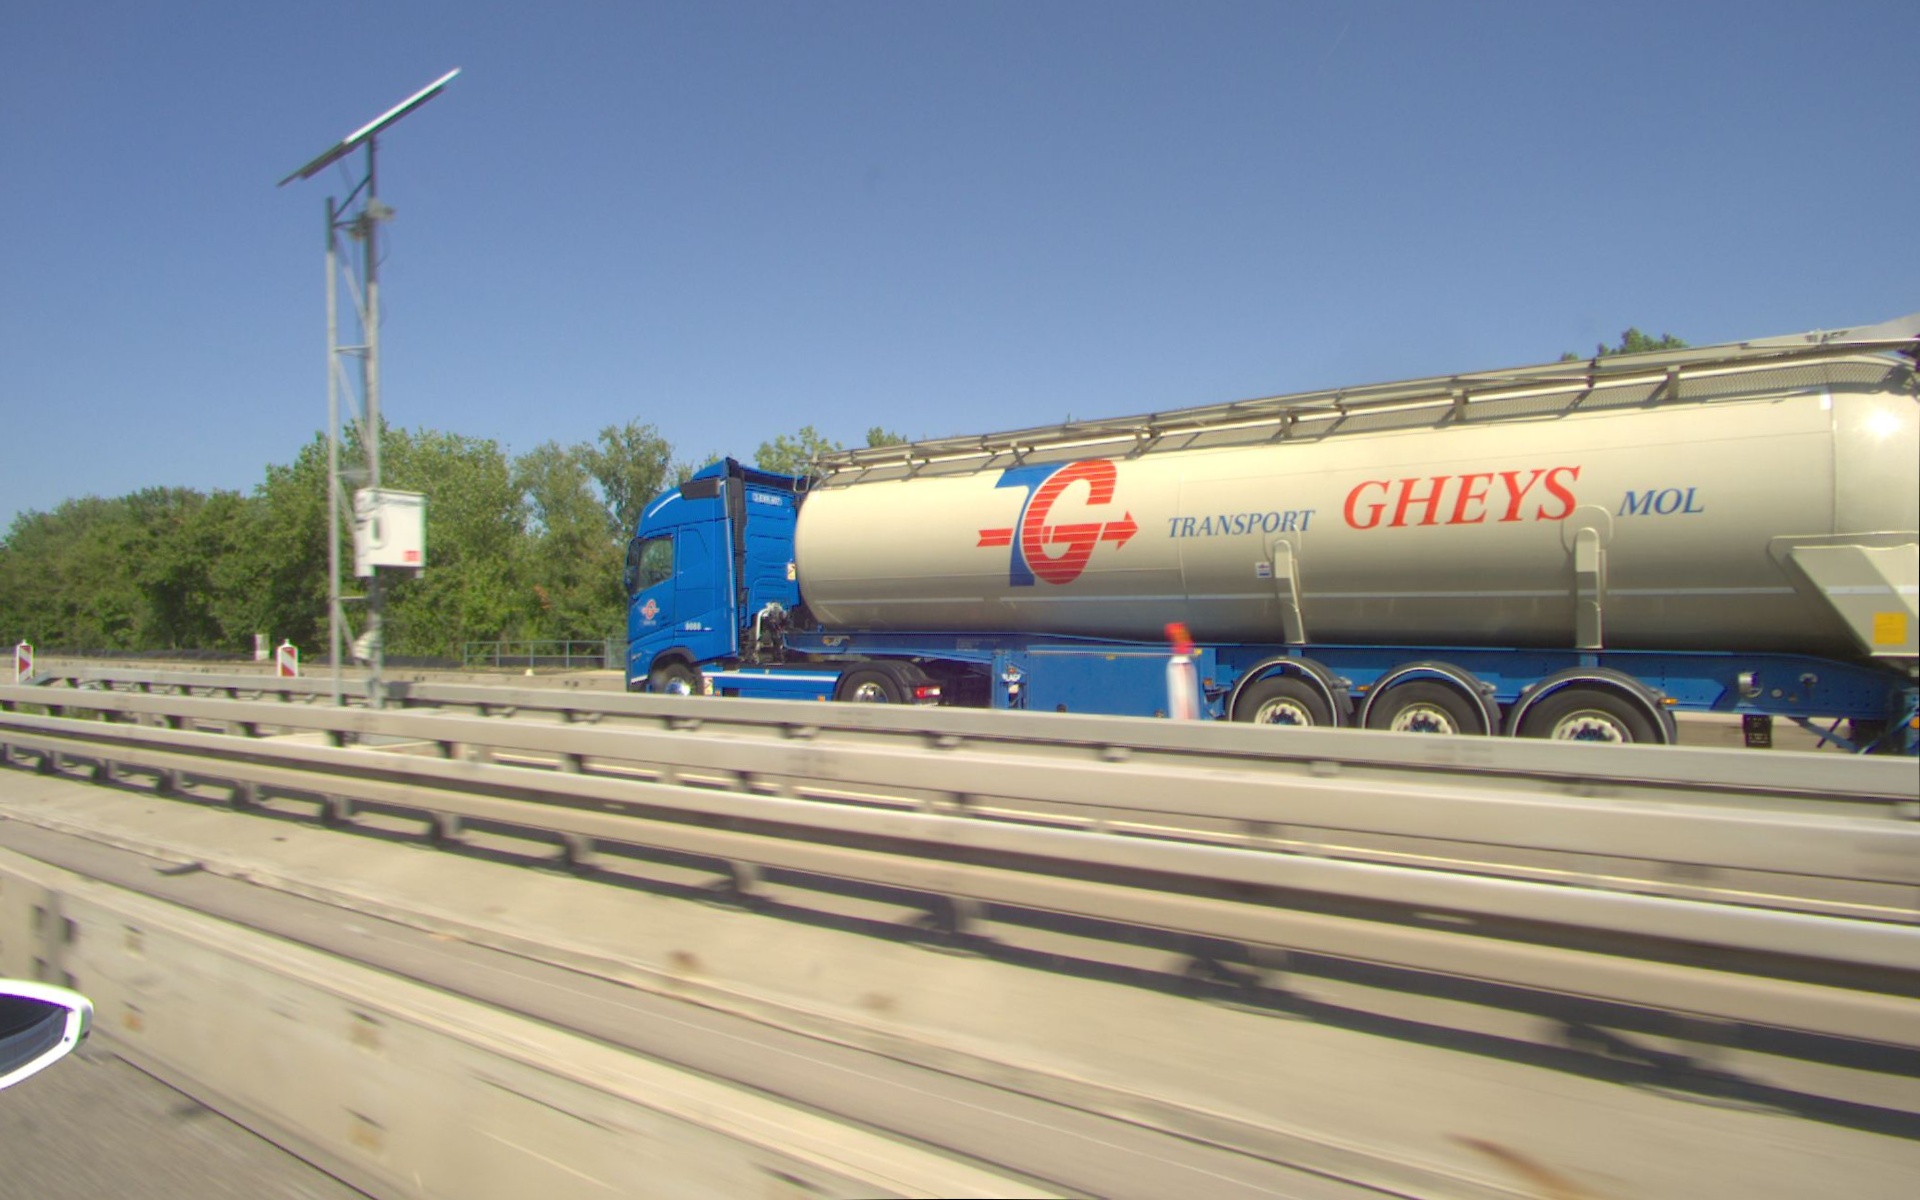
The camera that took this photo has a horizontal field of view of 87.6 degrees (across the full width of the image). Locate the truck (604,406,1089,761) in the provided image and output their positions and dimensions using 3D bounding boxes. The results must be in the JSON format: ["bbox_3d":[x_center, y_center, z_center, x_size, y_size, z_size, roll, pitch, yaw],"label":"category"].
[{"bbox_3d":[-1.918,-0.122,14.884,7.202,4.156,2.687,-1,-1,35],"label":"truck"}]

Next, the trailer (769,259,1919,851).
[{"bbox_3d":[3.240,-0.221,11.241,12.445,4.191,2.686,-1,-1,35],"label":"trailer"}]
